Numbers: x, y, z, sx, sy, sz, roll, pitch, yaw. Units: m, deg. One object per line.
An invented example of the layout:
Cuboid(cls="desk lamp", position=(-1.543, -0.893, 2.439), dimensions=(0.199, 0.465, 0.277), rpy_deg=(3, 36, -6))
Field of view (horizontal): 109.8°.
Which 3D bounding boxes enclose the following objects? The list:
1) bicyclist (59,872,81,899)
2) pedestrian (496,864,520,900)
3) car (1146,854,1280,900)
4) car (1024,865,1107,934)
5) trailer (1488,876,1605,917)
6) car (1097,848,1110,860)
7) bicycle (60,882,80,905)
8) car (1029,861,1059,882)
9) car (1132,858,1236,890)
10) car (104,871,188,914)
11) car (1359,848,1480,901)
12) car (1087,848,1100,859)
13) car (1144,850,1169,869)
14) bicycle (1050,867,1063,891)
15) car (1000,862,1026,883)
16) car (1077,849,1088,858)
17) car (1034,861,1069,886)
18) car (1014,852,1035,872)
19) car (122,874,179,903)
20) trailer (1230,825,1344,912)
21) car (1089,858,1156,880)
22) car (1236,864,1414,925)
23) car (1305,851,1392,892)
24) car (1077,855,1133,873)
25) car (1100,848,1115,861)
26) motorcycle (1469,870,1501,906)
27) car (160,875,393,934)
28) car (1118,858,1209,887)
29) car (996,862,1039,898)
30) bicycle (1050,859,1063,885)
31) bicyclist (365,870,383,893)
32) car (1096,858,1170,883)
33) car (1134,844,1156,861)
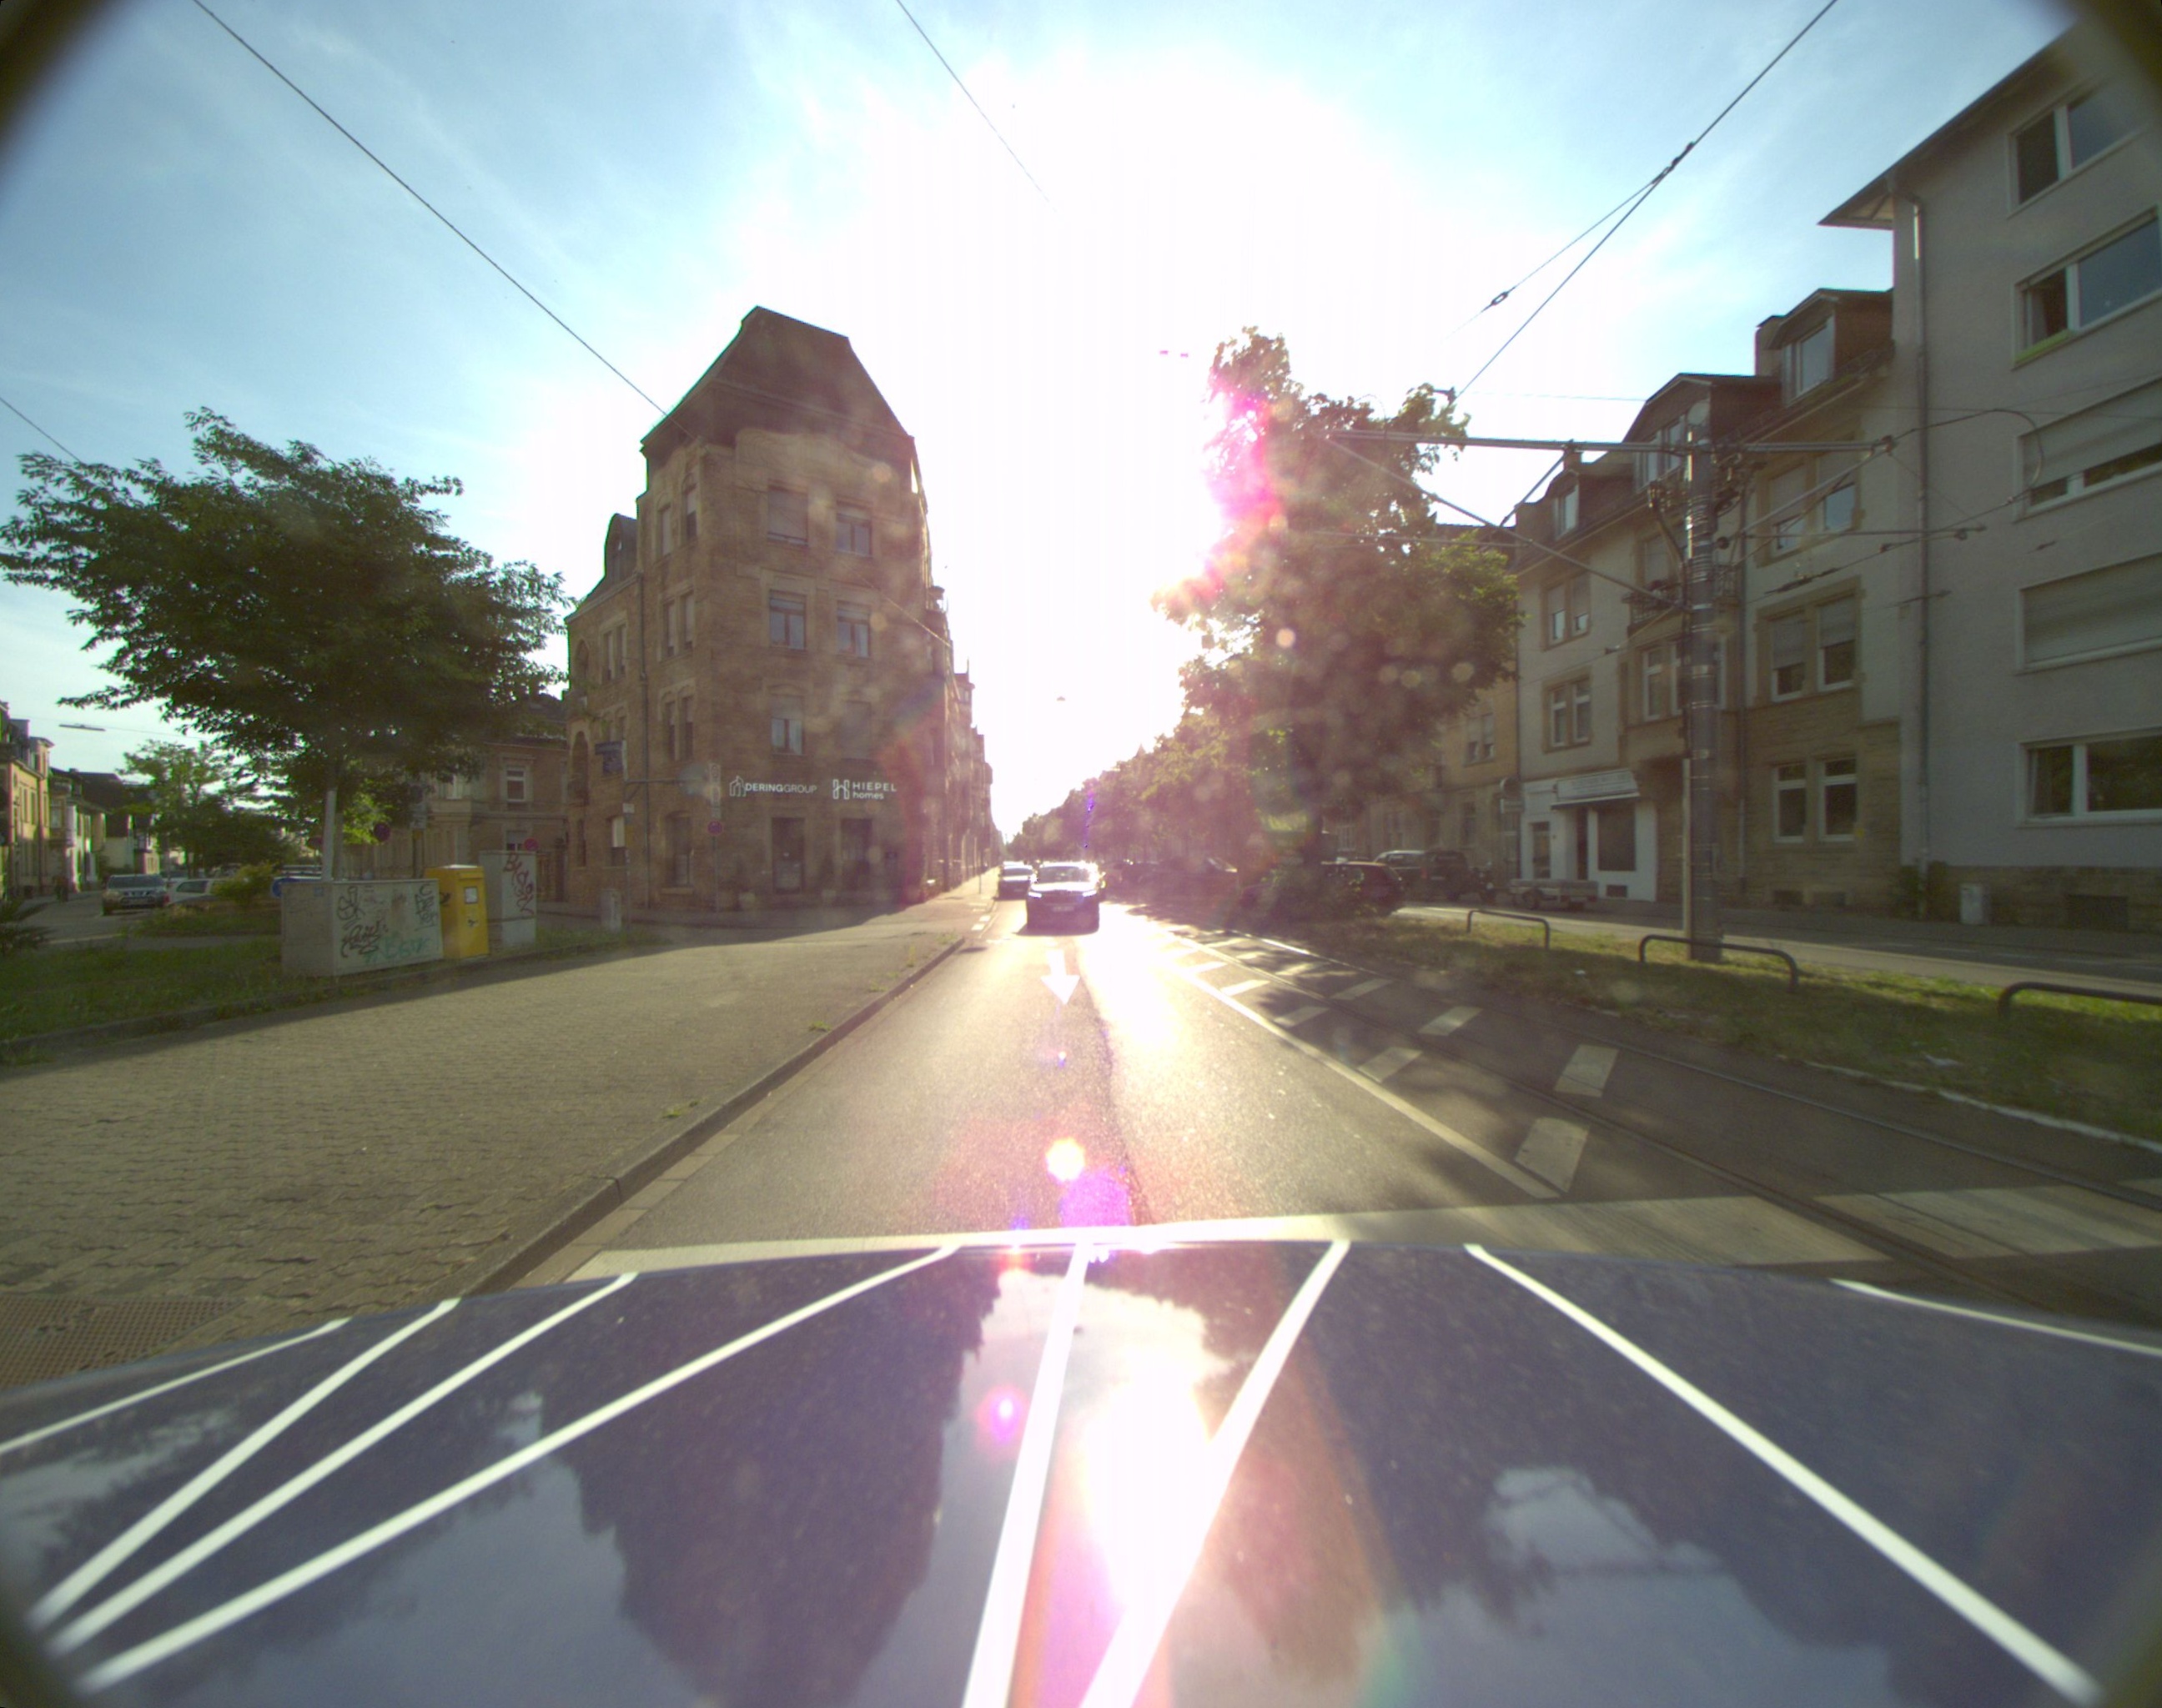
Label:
Cuboid(cls="bicyclist", position=(-57.929, 1.793, 43.540), dimensions=(0.894, 1.532, 0.656), rpy_deg=(0, 0, 41))
Cuboid(cls="pedestrian", position=(-27.432, 1.334, 36.379), dimensions=(0.781, 1.665, 0.765), rpy_deg=(-2, 0, 43))
Cuboid(cls="car", position=(5.178, 0.879, 30.077), dimensions=(4.704, 1.680, 2.176), rpy_deg=(-1, 0, 36))
Cuboid(cls="car", position=(-0.465, 1.044, 19.039), dimensions=(1.840, 1.472, 3.999), rpy_deg=(-1, 0, -3))
Cuboid(cls="trailer", position=(13.560, 1.221, 22.310), dimensions=(1.444, 0.891, 2.878), rpy_deg=(-7, 0, -5))
Cuboid(cls="car", position=(4.082, -0.023, 137.021), dimensions=(1.999, 2.002, 3.999), rpy_deg=(-2, 0, -2))
Cuboid(cls="bicycle", position=(-57.984, 2.250, 43.593), dimensions=(1.565, 1.250, 0.573), rpy_deg=(-1, 0, 41))
Cuboid(cls="car", position=(-2.968, 1.368, 60.175), dimensions=(2.000, 1.564, 3.998), rpy_deg=(-2, 0, -7))
Cuboid(cls="car", position=(4.876, 0.955, 36.191), dimensions=(4.598, 1.373, 1.705), rpy_deg=(-2, 0, 29))
Cuboid(cls="car", position=(-39.489, 1.602, 32.184), dimensions=(3.989, 1.641, 2.004), rpy_deg=(-2, 0, 42))
Cuboid(cls="car", position=(12.473, 0.727, 28.416), dimensions=(2.171, 1.739, 4.717), rpy_deg=(-2, 0, -3))
Cuboid(cls="car", position=(2.514, -0.145, 149.323), dimensions=(1.999, 2.002, 3.998), rpy_deg=(-2, 0, -6))
Cuboid(cls="car", position=(8.363, 0.590, 84.491), dimensions=(1.999, 2.002, 3.998), rpy_deg=(-2, 0, -5))
Cuboid(cls="bicycle", position=(-1.223, 1.243, 37.941), dimensions=(0.484, 1.183, 1.338), rpy_deg=(-2, 0, -6))
Cuboid(cls="car", position=(-5.112, 1.375, 57.593), dimensions=(1.840, 1.472, 3.999), rpy_deg=(-2, 0, -3))
Cuboid(cls="car", position=(0.360, -0.167, 170.882), dimensions=(1.999, 2.002, 3.998), rpy_deg=(-2, 0, -6))
Cuboid(cls="car", position=(-2.067, 1.295, 51.956), dimensions=(2.000, 1.564, 3.998), rpy_deg=(-2, 0, -7))
Cuboid(cls="car", position=(-5.874, 0.844, 78.842), dimensions=(1.999, 2.002, 3.998), rpy_deg=(-1, 0, -6))
Cuboid(cls="car", position=(-57.589, 2.127, 47.067), dimensions=(3.989, 1.641, 2.004), rpy_deg=(-2, 0, 42))
Cuboid(cls="trailer", position=(5.995, 0.426, 22.115), dimensions=(2.859, 2.378, 1.726), rpy_deg=(-2, 0, 26))
Cuboid(cls="car", position=(2.957, 1.058, 54.169), dimensions=(4.260, 1.414, 2.176), rpy_deg=(-2, 0, 36))
Cuboid(cls="car", position=(6.032, 0.950, 18.869), dimensions=(3.942, 1.352, 1.676), rpy_deg=(-1, 0, 30))
Cuboid(cls="car", position=(12.221, 0.771, 35.109), dimensions=(2.171, 1.739, 4.609), rpy_deg=(-2, 0, -3))
Cuboid(cls="car", position=(2.026, 0.856, 64.248), dimensions=(4.259, 1.414, 2.176), rpy_deg=(-1, 0, 36))
Cuboid(cls="car", position=(4.348, 0.070, 125.381), dimensions=(1.999, 2.002, 3.999), rpy_deg=(-2, 0, -2))
Cuboid(cls="motorcycle", position=(13.091, 1.094, 24.634), dimensions=(0.636, 1.073, 1.736), rpy_deg=(-2, 0, 19))
Cuboid(cls="car", position=(-24.278, 1.478, 23.146), dimensions=(4.455, 1.505, 1.998), rpy_deg=(-2, 0, -14))
Cuboid(cls="car", position=(4.286, 0.975, 39.890), dimensions=(4.294, 1.414, 1.963), rpy_deg=(-2, 0, 36))
Cuboid(cls="car", position=(-3.028, 1.165, 35.683), dimensions=(1.841, 1.494, 4.264), rpy_deg=(-2, 0, -7))
Cuboid(cls="bicycle", position=(-1.232, 0.885, 37.901), dimensions=(0.575, 1.290, 0.688), rpy_deg=(-2, 0, -6))
Cuboid(cls="bicyclist", position=(-46.377, 1.814, 49.844), dimensions=(0.652, 1.447, 0.745), rpy_deg=(-2, 0, 43))
Cuboid(cls="car", position=(3.211, 1.025, 47.238), dimensions=(4.260, 1.414, 1.685), rpy_deg=(-2, 0, 36))
Cuboid(cls="car", position=(7.937, -0.130, 94.920), dimensions=(1.999, 2.002, 3.998), rpy_deg=(-2, 0, -5))
